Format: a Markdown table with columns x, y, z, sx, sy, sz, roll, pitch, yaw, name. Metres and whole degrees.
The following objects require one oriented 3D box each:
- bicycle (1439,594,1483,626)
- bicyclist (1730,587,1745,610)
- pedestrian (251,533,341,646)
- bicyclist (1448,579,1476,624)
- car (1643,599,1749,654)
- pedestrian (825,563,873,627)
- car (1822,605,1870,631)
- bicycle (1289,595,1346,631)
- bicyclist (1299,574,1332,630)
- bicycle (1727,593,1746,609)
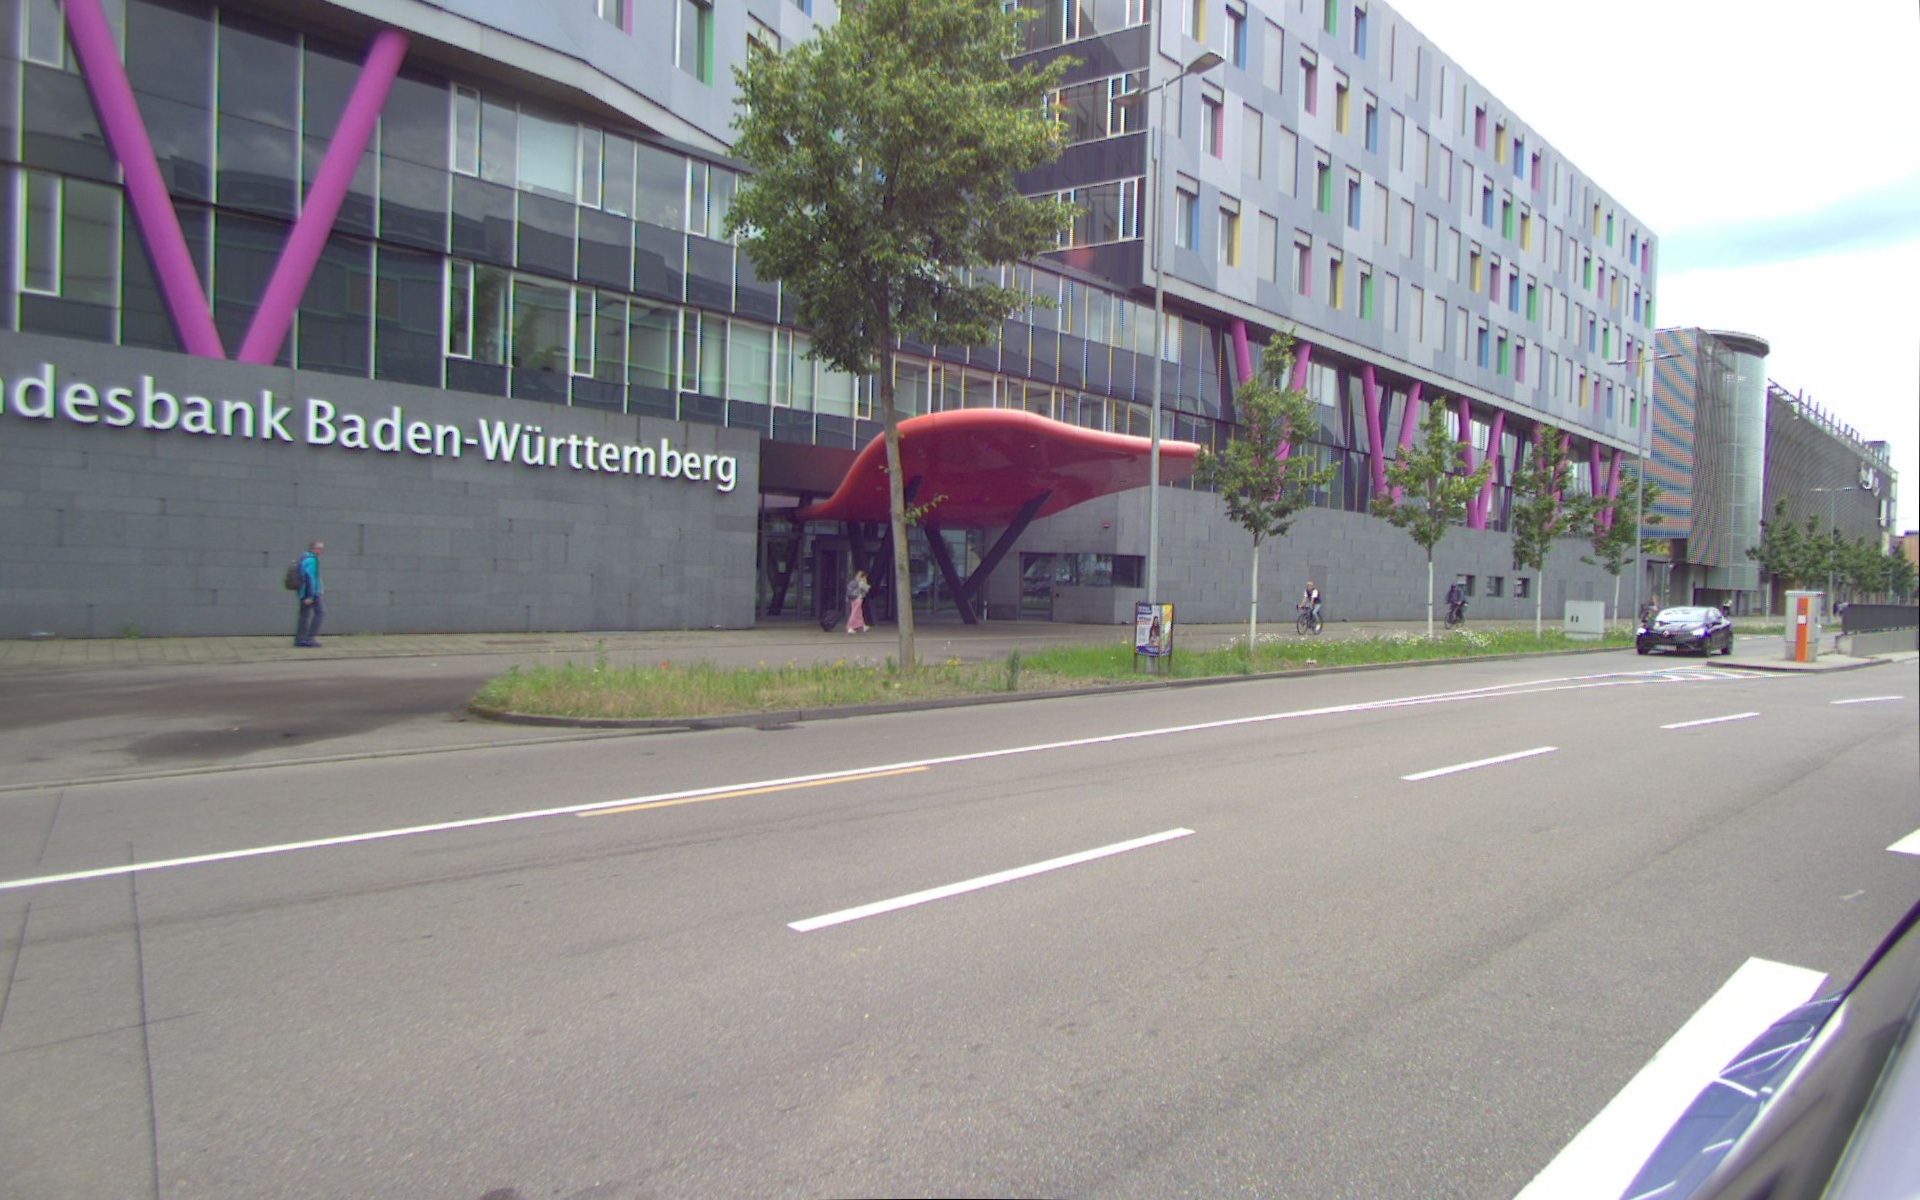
| x | y | z | sx | sy | sz | roll | pitch | yaw | name |
| --- | --- | --- | --- | --- | --- | --- | --- | --- | --- |
| 21.030 | 0.413 | 42.455 | 2.303 | 1.173 | 0.800 | 6 | -3 | -42 | bicycle |
| 61.859 | -0.138 | 80.518 | 0.957 | 1.809 | 0.771 | 1 | 1 | -42 | bicyclist |
| -11.055 | -0.177 | 16.833 | 1.116 | 1.792 | 1.054 | 1 | 1 | -40 | pedestrian |
| 21.098 | 0.049 | 42.504 | 0.692 | 1.826 | 0.783 | 6 | -3 | -41 | bicyclist |
| 21.556 | 0.722 | 29.591 | 4.266 | 1.479 | 1.566 | 0 | 1 | -41 | car |
| -2.841 | -0.126 | 25.795 | 0.898 | 1.602 | 0.786 | 1 | 1 | -40 | pedestrian |
| 52.316 | 1.048 | 59.755 | 4.266 | 1.480 | 1.566 | 0 | 0 | -41 | car |
| 11.977 | 0.442 | 33.870 | 2.304 | 1.173 | 0.800 | 2 | 0 | -42 | bicycle |
| 11.857 | 0.063 | 33.754 | 0.692 | 1.825 | 0.783 | 2 | -1 | -41 | bicyclist |
| 61.655 | 0.116 | 80.330 | 2.182 | 1.209 | 0.784 | 1 | 1 | -42 | bicycle |
